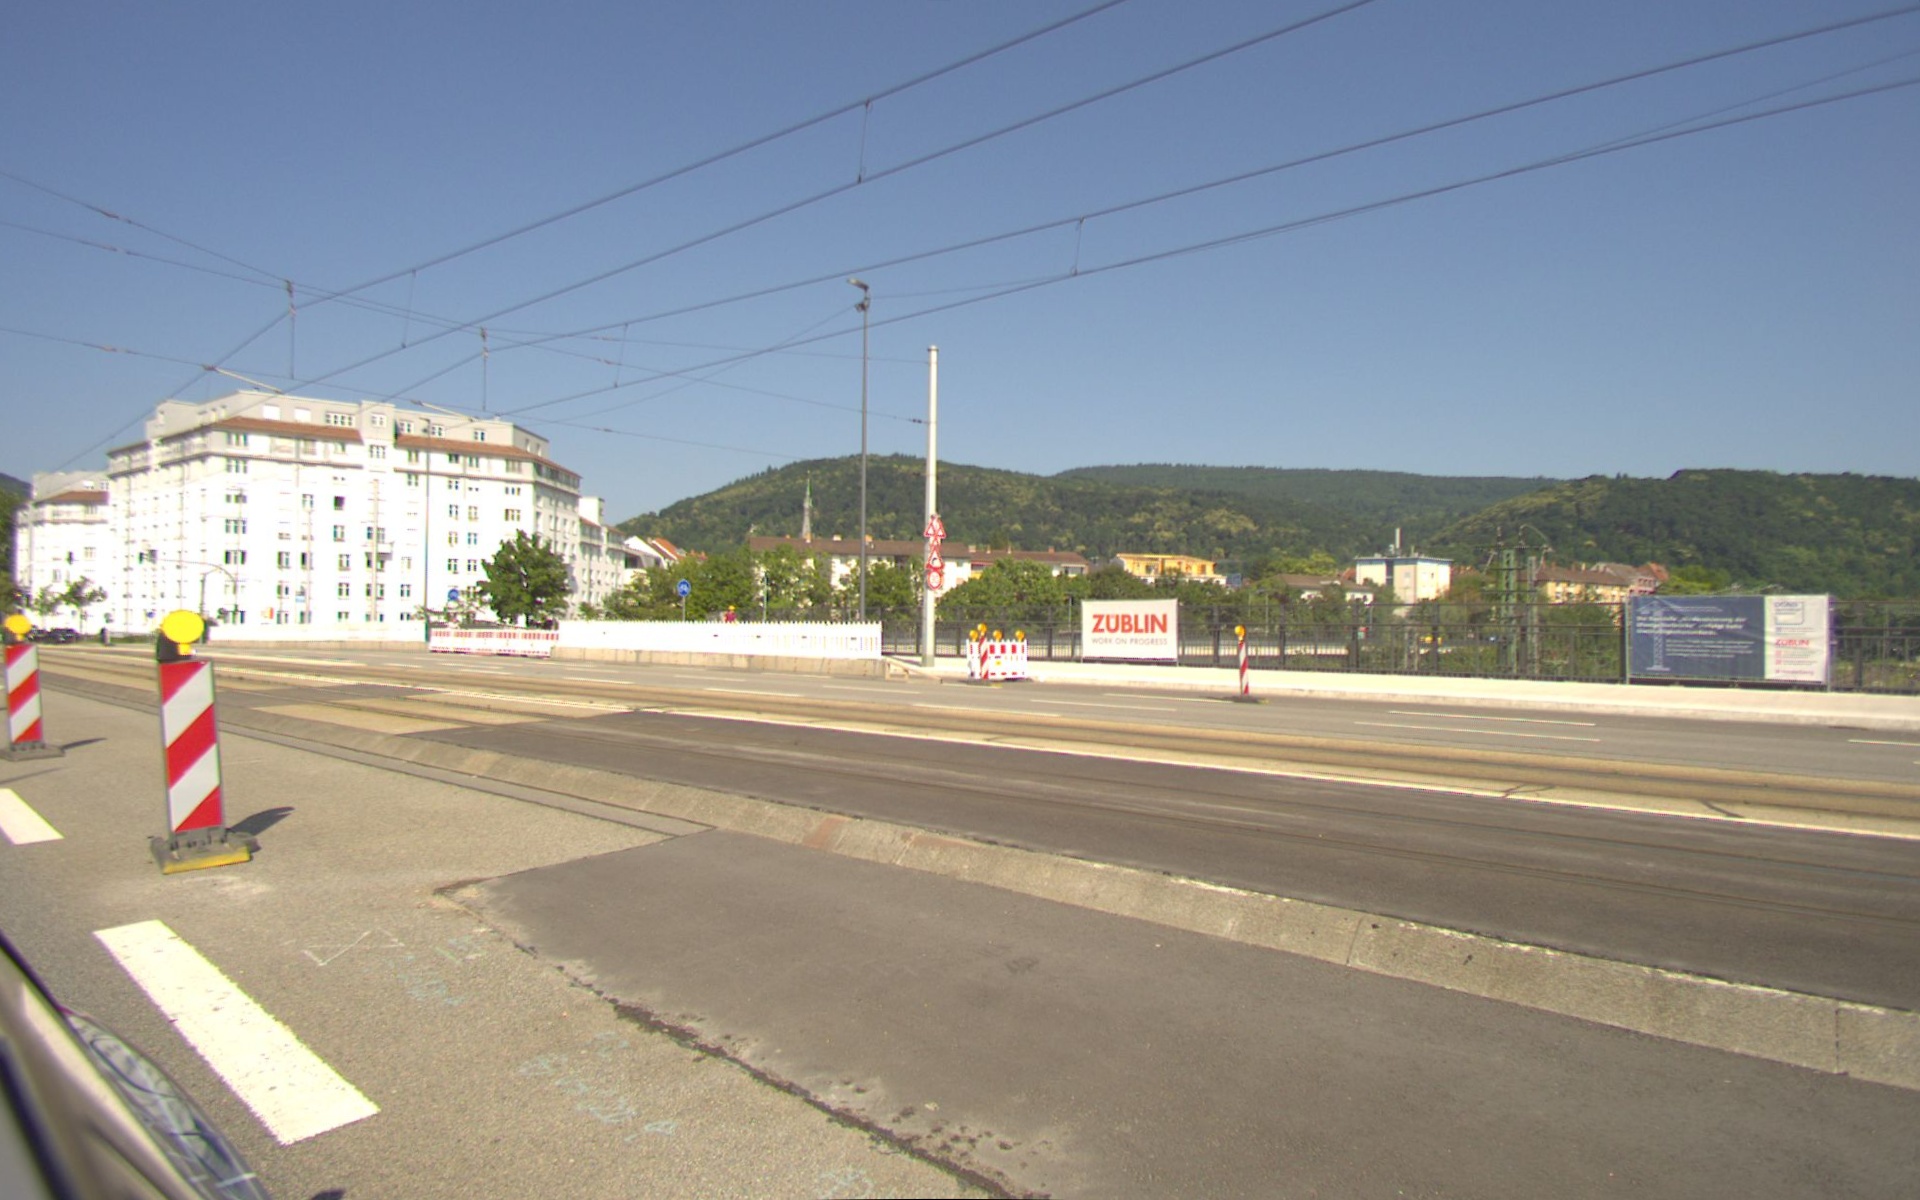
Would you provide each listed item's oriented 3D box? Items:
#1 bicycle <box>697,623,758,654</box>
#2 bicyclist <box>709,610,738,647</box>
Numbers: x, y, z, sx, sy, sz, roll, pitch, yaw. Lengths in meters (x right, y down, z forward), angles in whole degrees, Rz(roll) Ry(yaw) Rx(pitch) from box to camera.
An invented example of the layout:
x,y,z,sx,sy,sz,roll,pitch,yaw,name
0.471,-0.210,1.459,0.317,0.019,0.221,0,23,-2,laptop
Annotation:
x,y,z,sx,sy,sz,roll,pitch,yaw,name
-9.747,1.592,42.402,3.070,1.204,0.847,-1,0,41,bicycle
-9.860,1.169,42.238,0.817,1.530,0.847,-1,0,40,bicyclist
